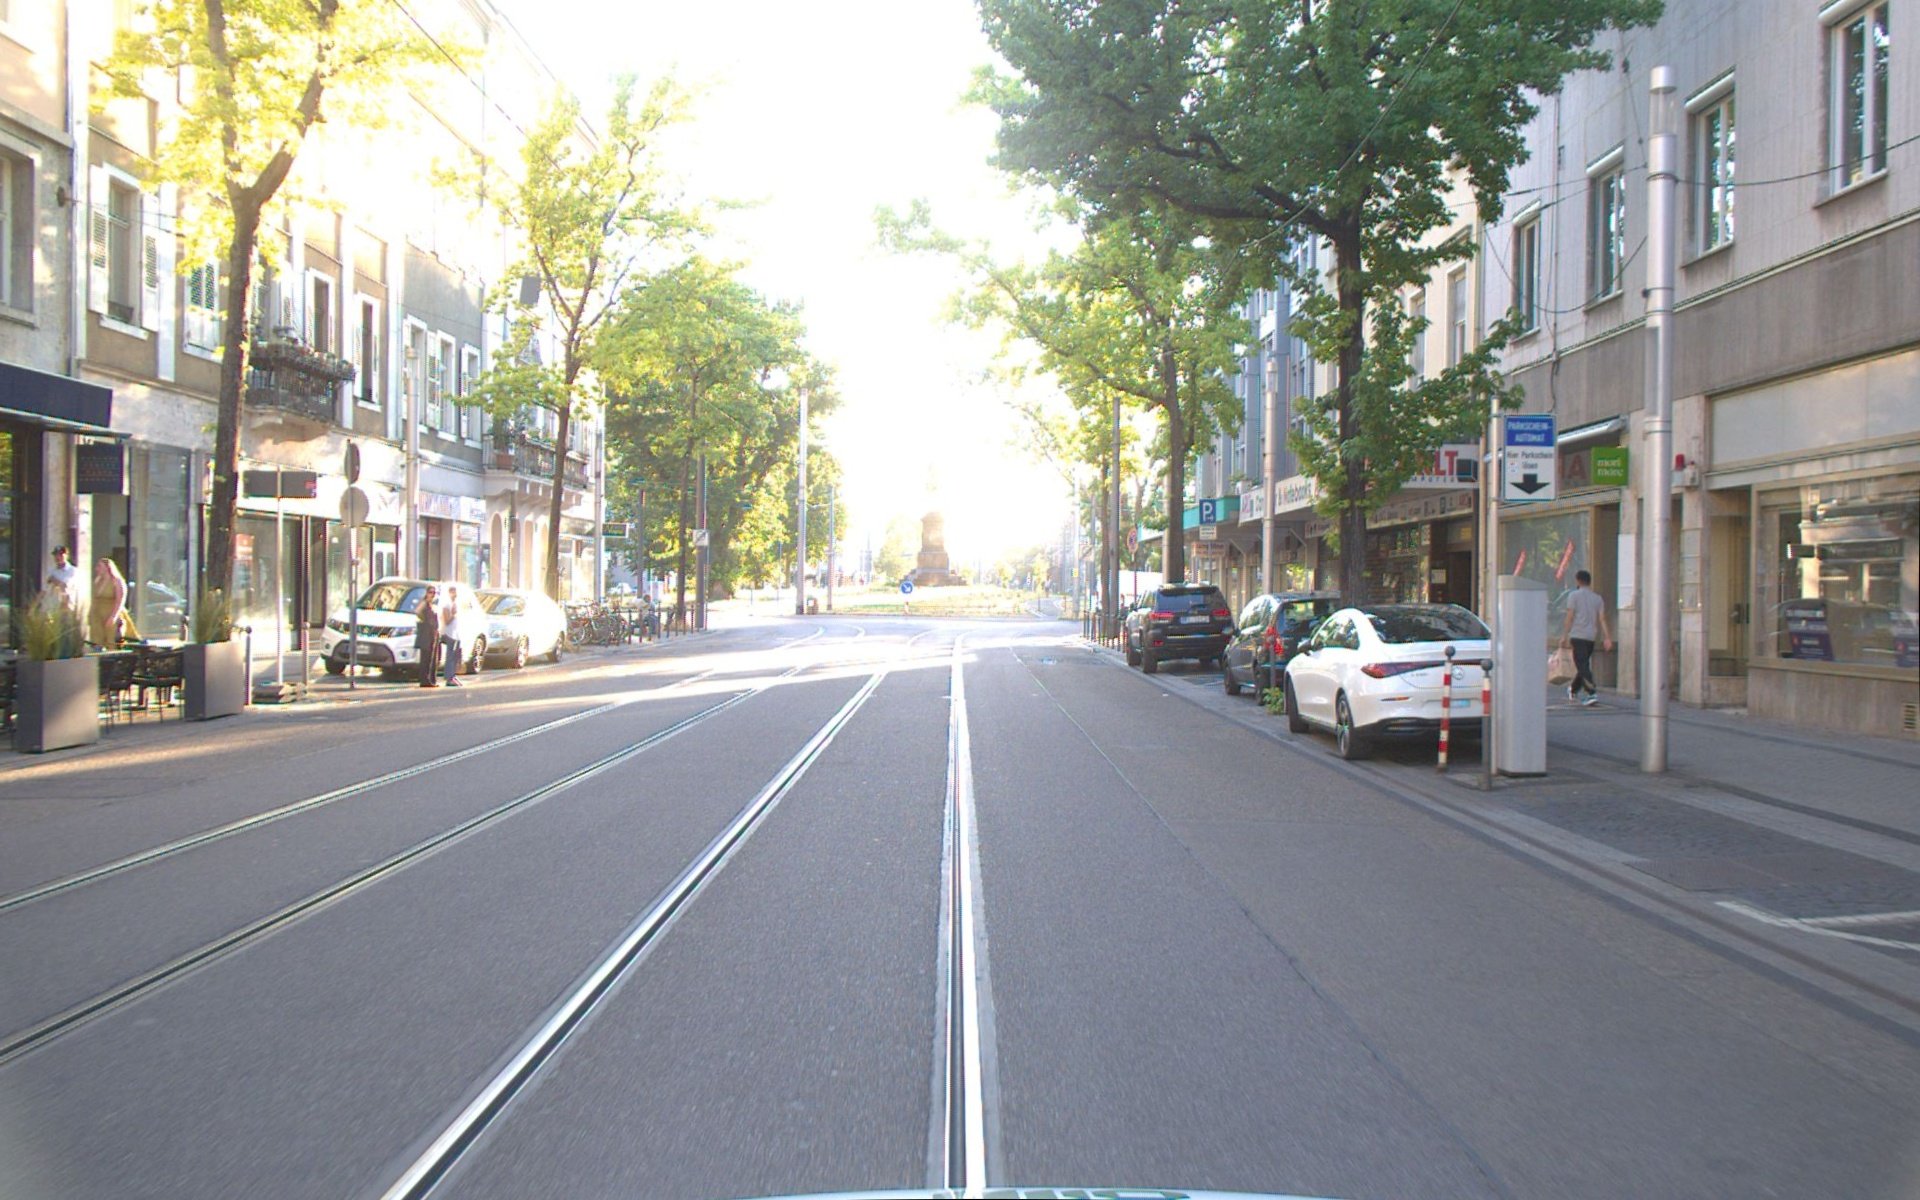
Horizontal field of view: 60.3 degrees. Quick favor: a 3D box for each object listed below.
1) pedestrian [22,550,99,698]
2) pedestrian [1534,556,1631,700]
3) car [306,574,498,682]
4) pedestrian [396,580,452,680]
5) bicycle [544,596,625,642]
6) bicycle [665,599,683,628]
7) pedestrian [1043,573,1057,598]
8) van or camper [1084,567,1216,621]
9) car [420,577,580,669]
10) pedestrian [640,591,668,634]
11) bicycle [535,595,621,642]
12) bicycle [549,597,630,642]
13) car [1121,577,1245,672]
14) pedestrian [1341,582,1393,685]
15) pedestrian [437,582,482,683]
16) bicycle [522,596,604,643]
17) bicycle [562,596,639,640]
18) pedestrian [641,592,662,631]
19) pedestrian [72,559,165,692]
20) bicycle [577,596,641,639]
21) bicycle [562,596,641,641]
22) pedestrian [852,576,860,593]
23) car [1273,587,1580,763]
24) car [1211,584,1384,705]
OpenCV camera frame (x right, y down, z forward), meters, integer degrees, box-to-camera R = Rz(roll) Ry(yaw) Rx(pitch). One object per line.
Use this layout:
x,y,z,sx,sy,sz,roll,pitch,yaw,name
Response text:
-12.589,0.329,23.169,0.707,2.049,0.643,1,0,0,pedestrian
8.082,0.350,21.503,0.840,1.783,0.932,-3,0,0,pedestrian
-9.525,0.437,28.595,1.799,1.607,4.116,4,0,0,car
-8.313,0.463,25.675,0.607,1.536,0.729,0,-1,0,pedestrian
-9.874,0.513,43.490,1.998,1.124,0.497,3,-1,-26,bicycle
-9.875,0.454,57.136,0.329,0.962,1.510,0,1,1,bicycle
5.929,-0.974,108.816,0.624,1.634,0.770,1,1,31,pedestrian
9.209,-0.329,80.077,6.246,2.515,2.584,0,1,-35,van or camper
-9.218,0.420,33.528,1.799,1.607,4.702,4,0,0,car
-9.591,0.392,51.833,0.713,1.313,0.856,1,0,-3,pedestrian
-9.878,0.487,42.844,2.082,1.124,0.497,3,-1,-26,bicycle
-9.871,0.514,44.070,1.998,1.124,0.497,3,-1,-26,bicycle
4.656,0.459,35.179,1.899,1.790,4.679,-3,0,0,car
6.907,0.559,28.101,0.630,1.699,0.786,-2,0,0,pedestrian
-7.994,0.518,26.414,0.510,1.596,0.634,0,-1,0,pedestrian
-10.056,0.502,41.932,1.921,1.124,0.563,3,-1,-26,bicycle
-9.895,0.496,45.535,1.981,1.124,0.501,2,-1,2,bicycle
-9.975,0.362,53.471,0.579,1.214,0.641,1,0,-3,pedestrian
-11.630,0.339,22.890,0.707,1.791,1.090,1,0,0,pedestrian
-9.850,0.483,46.407,1.989,1.124,0.499,2,-1,35,bicycle
-9.736,0.506,44.950,1.981,1.124,0.501,2,-1,2,bicycle
-10.202,-1.548,162.777,0.754,1.634,0.637,0,1,-7,pedestrian
4.782,0.684,17.723,1.953,1.524,4.680,-3,1,1,car
5.077,0.609,25.357,1.740,1.618,3.891,-3,1,-1,car
